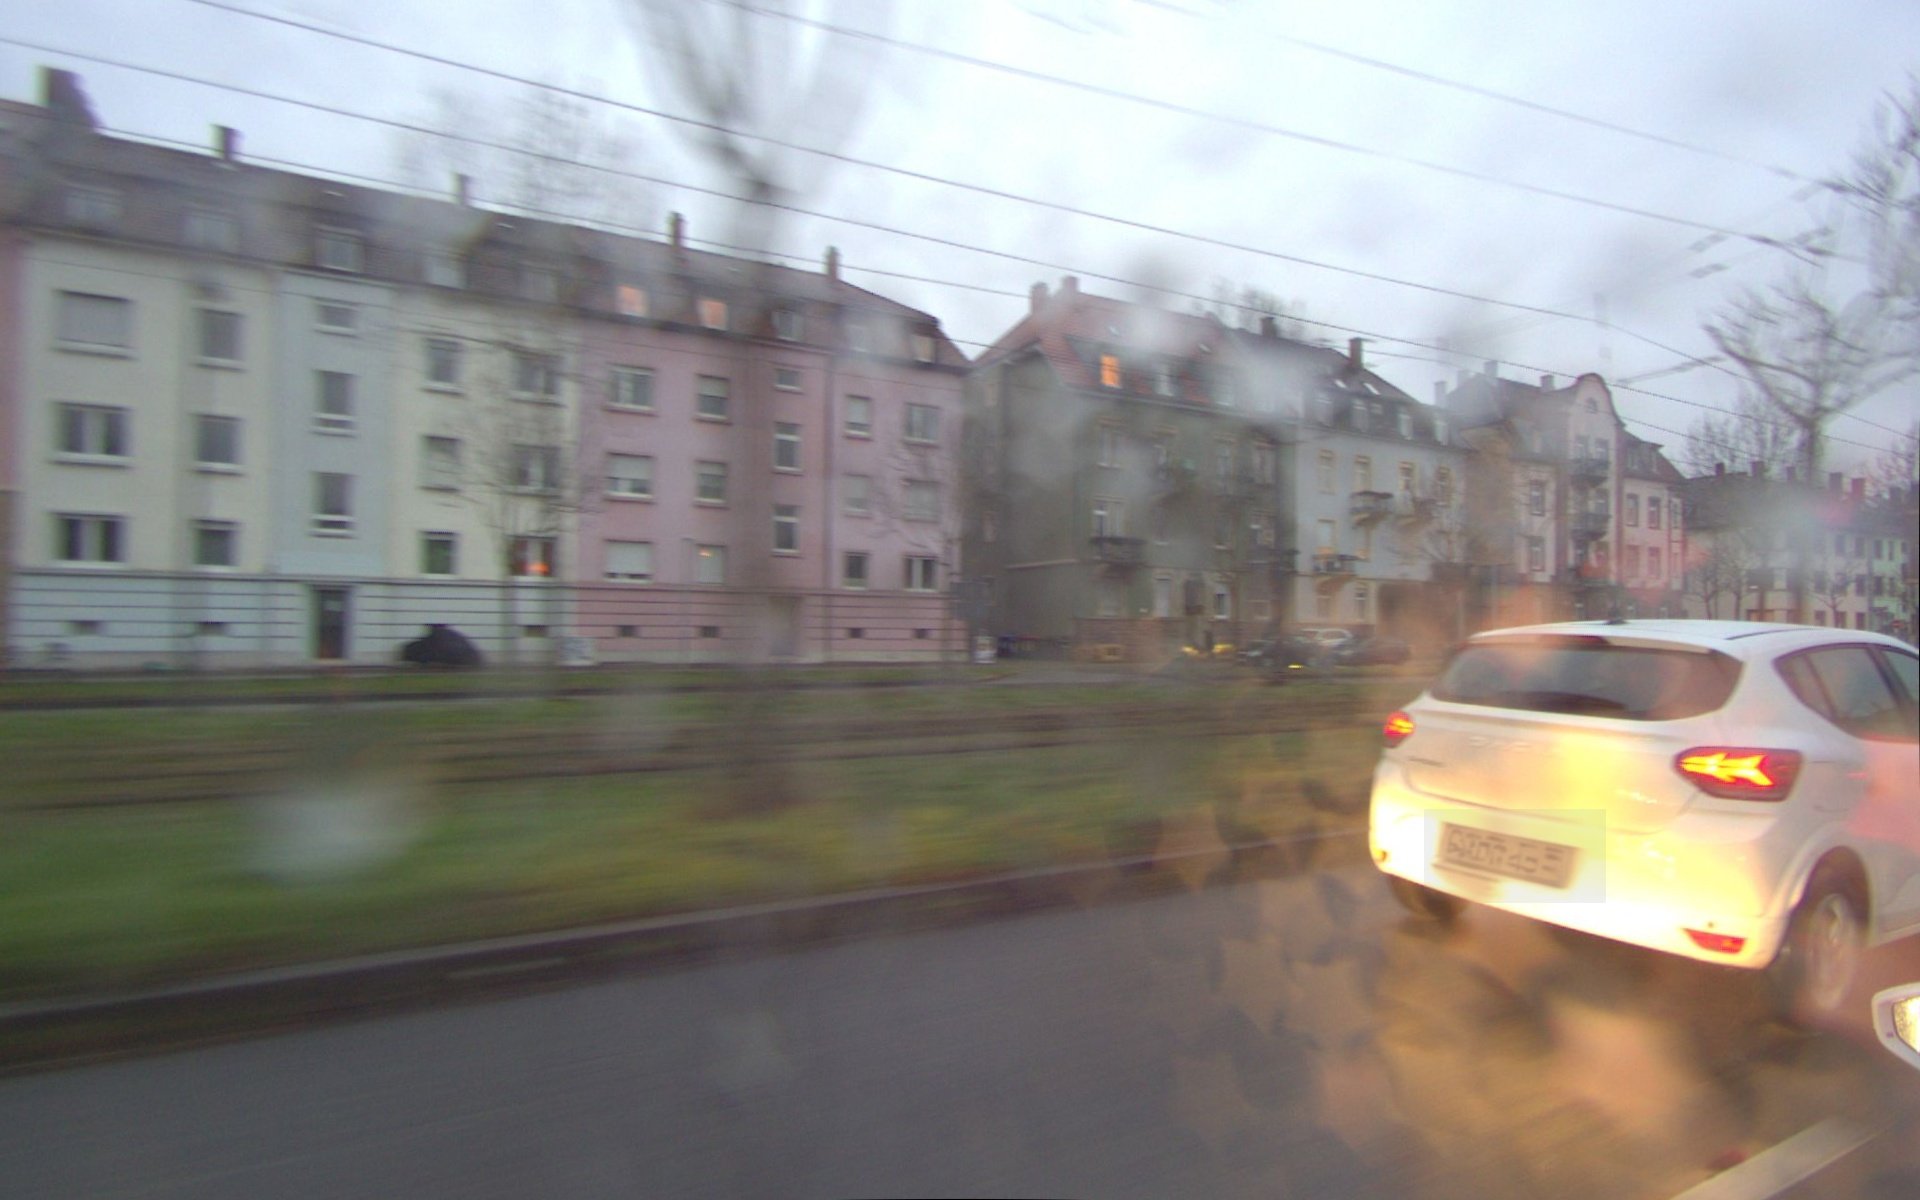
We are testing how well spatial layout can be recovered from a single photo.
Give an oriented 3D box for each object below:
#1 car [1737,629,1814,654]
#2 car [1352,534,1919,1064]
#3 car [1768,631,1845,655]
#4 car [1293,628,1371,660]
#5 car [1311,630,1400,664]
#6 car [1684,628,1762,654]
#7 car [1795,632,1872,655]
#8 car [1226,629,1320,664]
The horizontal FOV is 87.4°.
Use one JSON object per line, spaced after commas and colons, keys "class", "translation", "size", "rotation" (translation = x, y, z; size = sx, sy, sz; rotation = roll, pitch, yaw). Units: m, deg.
{"class": "car", "translation": [46.898, 2.354, 57.874], "size": [1.746, 1.372, 3.559], "rotation": [0, -2, 5]}
{"class": "car", "translation": [3.890, 0.654, 4.858], "size": [4.009, 1.621, 1.663], "rotation": [2, -1, -32]}
{"class": "car", "translation": [50.094, 2.521, 59.535], "size": [1.746, 1.372, 3.559], "rotation": [0, -2, 5]}
{"class": "car", "translation": [18.249, 2.126, 49.266], "size": [3.514, 1.520, 1.768], "rotation": [1, -2, -30]}
{"class": "car", "translation": [17.088, 2.003, 43.393], "size": [3.514, 1.372, 1.768], "rotation": [1, -2, -30]}
{"class": "car", "translation": [41.454, 2.215, 54.674], "size": [1.746, 1.372, 3.559], "rotation": [0, -2, 5]}
{"class": "car", "translation": [53.241, 2.615, 61.310], "size": [1.746, 1.372, 3.559], "rotation": [0, -2, 5]}
{"class": "car", "translation": [12.764, 1.854, 40.934], "size": [3.514, 1.372, 1.768], "rotation": [1, -2, -30]}
